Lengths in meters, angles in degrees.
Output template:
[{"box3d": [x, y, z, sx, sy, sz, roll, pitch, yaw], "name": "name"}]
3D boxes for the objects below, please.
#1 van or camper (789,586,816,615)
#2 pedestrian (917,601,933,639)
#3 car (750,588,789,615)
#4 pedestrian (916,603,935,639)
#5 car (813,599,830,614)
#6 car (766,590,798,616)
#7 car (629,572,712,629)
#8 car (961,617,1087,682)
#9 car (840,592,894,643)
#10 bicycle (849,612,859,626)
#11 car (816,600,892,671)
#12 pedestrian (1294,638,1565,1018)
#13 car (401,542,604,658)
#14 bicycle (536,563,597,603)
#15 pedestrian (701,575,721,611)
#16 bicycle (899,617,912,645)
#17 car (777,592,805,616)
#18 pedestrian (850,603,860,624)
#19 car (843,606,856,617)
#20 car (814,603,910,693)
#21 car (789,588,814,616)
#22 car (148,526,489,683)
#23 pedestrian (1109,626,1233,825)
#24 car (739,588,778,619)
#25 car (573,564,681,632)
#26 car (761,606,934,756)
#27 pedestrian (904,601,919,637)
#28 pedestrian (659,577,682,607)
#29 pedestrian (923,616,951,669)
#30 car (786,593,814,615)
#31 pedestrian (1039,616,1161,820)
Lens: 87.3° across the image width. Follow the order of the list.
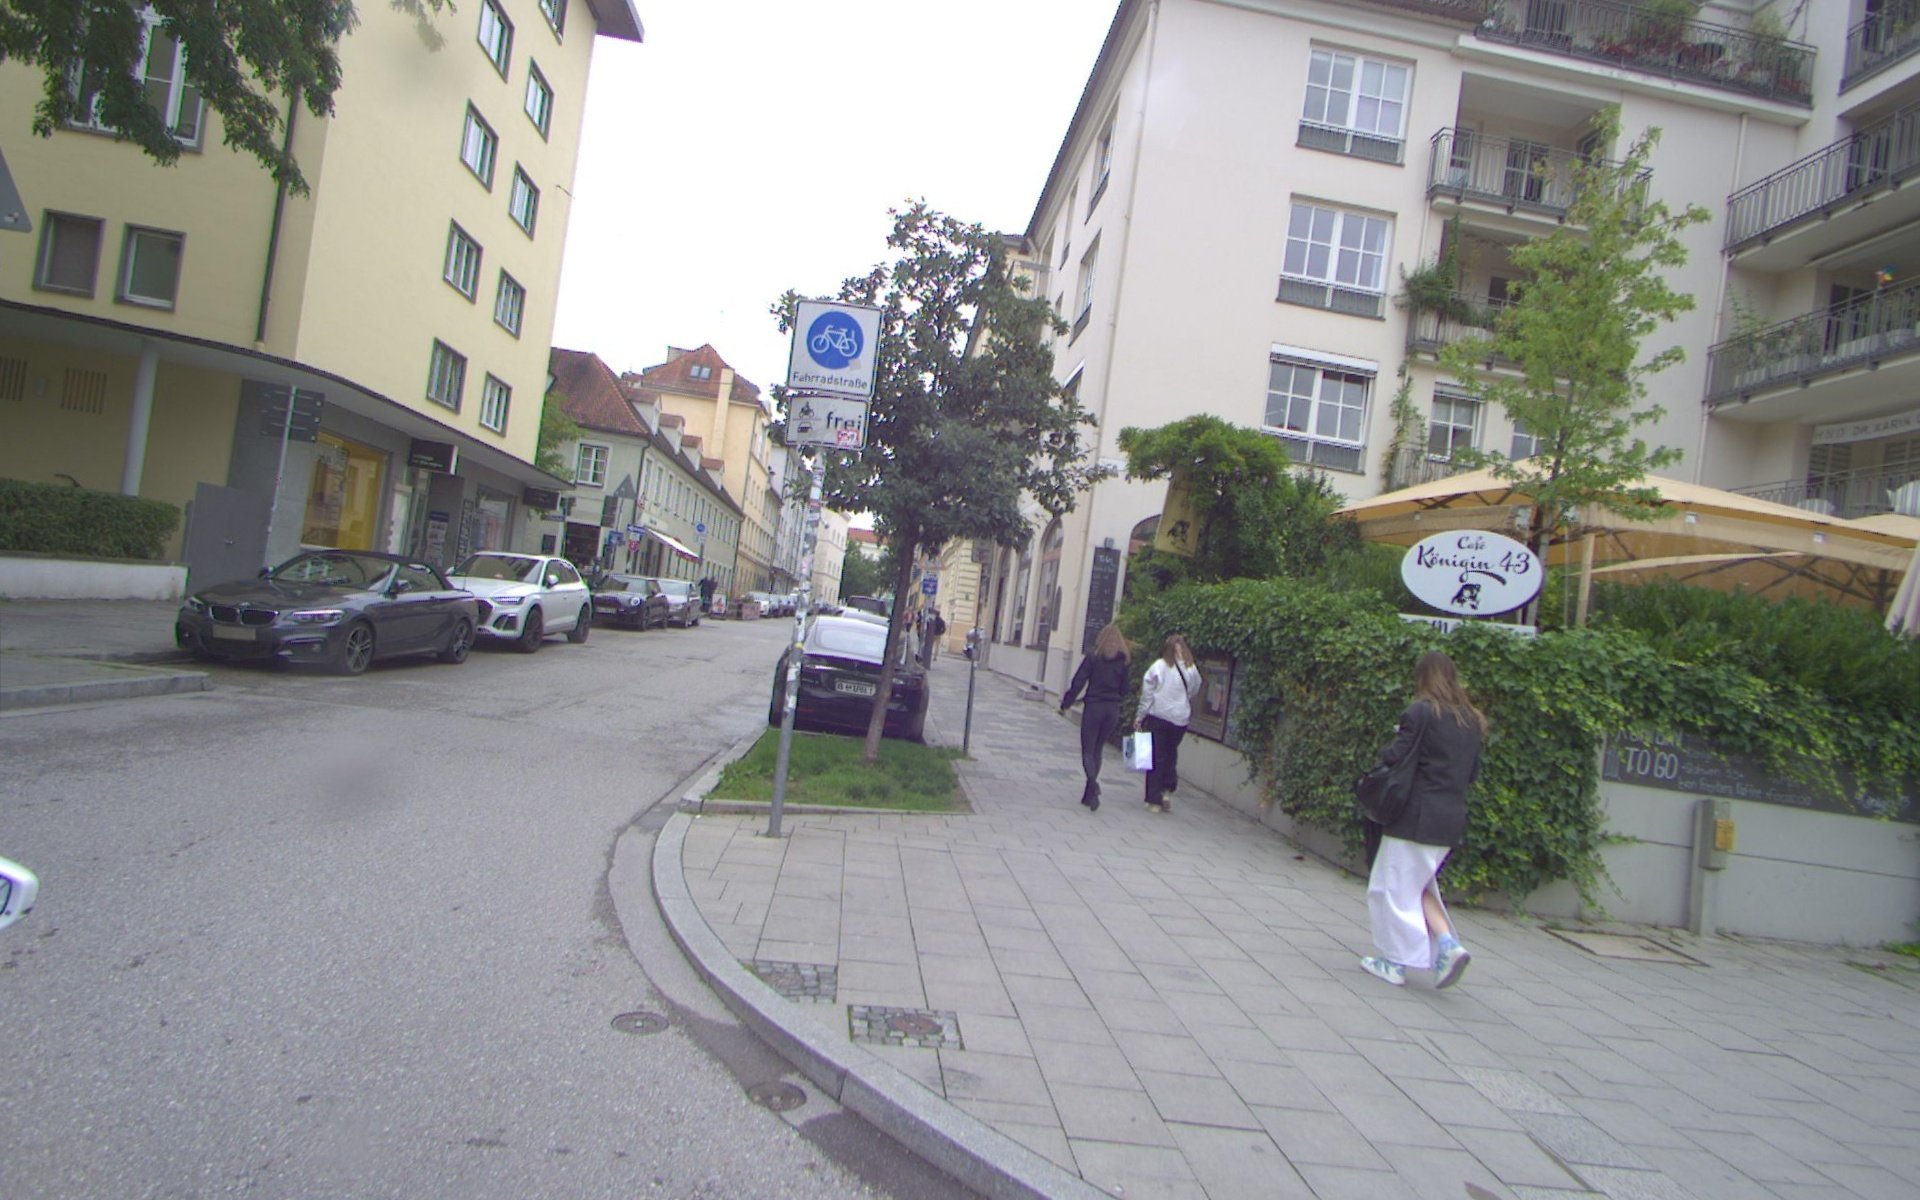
[{"box3d": [-13.916, 0.063, 89.081, 1.730, 2.307, 5.270, 8, -1, -5], "name": "van or camper"}, {"box3d": [-1.921, 1.099, 54.941, 0.659, 2.004, 0.708, 5, -1, -4], "name": "pedestrian"}, {"box3d": [-11.841, 0.099, 62.830, 1.773, 1.355, 4.681, 8, -1, -6], "name": "car"}, {"box3d": [-1.639, 1.014, 48.134, 0.649, 1.639, 0.979, 7, -1, -5], "name": "pedestrian"}, {"box3d": [-16.857, 0.787, 122.700, 1.682, 1.628, 3.861, 7, -1, -5], "name": "car"}, {"box3d": [-12.102, 0.225, 68.635, 1.730, 1.513, 4.196, 8, -1, -7], "name": "car"}, {"box3d": [-9.084, 0.013, 31.951, 1.655, 1.489, 4.945, 7, -1, -7], "name": "car"}, {"box3d": [2.204, 1.701, 35.227, 4.031, 1.625, 1.752, 8, 1, -6], "name": "car"}, {"box3d": [-4.083, 0.765, 44.942, 1.969, 1.886, 5.251, 9, -1, -3], "name": "car"}, {"box3d": [-9.054, 1.613, 86.066, 0.666, 1.107, 1.760, 8, -2, -6], "name": "bicycle"}, {"box3d": [-2.853, 0.880, 26.945, 1.653, 1.441, 4.198, 10, -1, -7], "name": "car"}, {"box3d": [2.277, 1.054, 4.992, 0.695, 1.641, 0.880, 8, -1, -6], "name": "pedestrian"}, {"box3d": [-7.907, -0.024, 17.876, 1.776, 1.604, 4.333, 7, 0, -5], "name": "car"}, {"box3d": [-13.442, -0.561, 34.359, 1.792, 1.047, 0.391, 10, 1, -2], "name": "bicycle"}, {"box3d": [-14.513, -0.398, 58.658, 0.811, 1.919, 0.827, 7, -1, -6], "name": "pedestrian"}, {"box3d": [-2.350, 1.330, 43.391, 0.458, 1.066, 1.727, 6, 2, -4], "name": "bicycle"}, {"box3d": [-12.389, 0.281, 73.873, 1.791, 1.459, 4.126, 7, -1, -8], "name": "car"}, {"box3d": [-9.002, 1.152, 86.103, 0.633, 1.733, 0.842, 7, -1, -6], "name": "pedestrian"}, {"box3d": [-18.096, 1.868, 164.957, 1.681, 1.600, 3.863, 7, -1, -2], "name": "car"}, {"box3d": [-2.108, 0.930, 21.568, 1.623, 1.441, 4.505, 10, -1, -6], "name": "car"}, {"box3d": [-13.170, 0.171, 83.729, 1.731, 2.018, 4.620, 8, -1, -9], "name": "car"}, {"box3d": [-7.576, 0.052, 12.441, 1.720, 1.428, 4.095, 7, 0, -5], "name": "car"}, {"box3d": [1.932, 1.124, 9.321, 0.695, 1.680, 0.880, 7, -1, -6], "name": "pedestrian"}, {"box3d": [-11.508, 0.206, 57.625, 1.731, 1.492, 3.710, 9, -1, -8], "name": "car"}, {"box3d": [-8.907, -0.034, 27.254, 1.654, 1.489, 4.095, 7, -1, -4], "name": "car"}, {"box3d": [-1.456, 0.948, 13.792, 1.777, 1.427, 4.653, 9, -1, -5], "name": "car"}, {"box3d": [-2.316, 0.920, 48.074, 0.465, 1.643, 1.069, 7, -1, -5], "name": "pedestrian"}, {"box3d": [-13.978, -0.386, 48.653, 0.791, 1.305, 0.693, 8, -1, -5], "name": "pedestrian"}, {"box3d": [-0.829, 1.495, 35.480, 0.708, 1.737, 1.003, 7, -1, -6], "name": "pedestrian"}, {"box3d": [-12.501, 0.353, 78.811, 1.730, 1.425, 4.100, 8, -1, -6], "name": "car"}, {"box3d": [1.241, 1.031, 9.088, 0.695, 1.680, 0.880, 7, -1, -6], "name": "pedestrian"}]
